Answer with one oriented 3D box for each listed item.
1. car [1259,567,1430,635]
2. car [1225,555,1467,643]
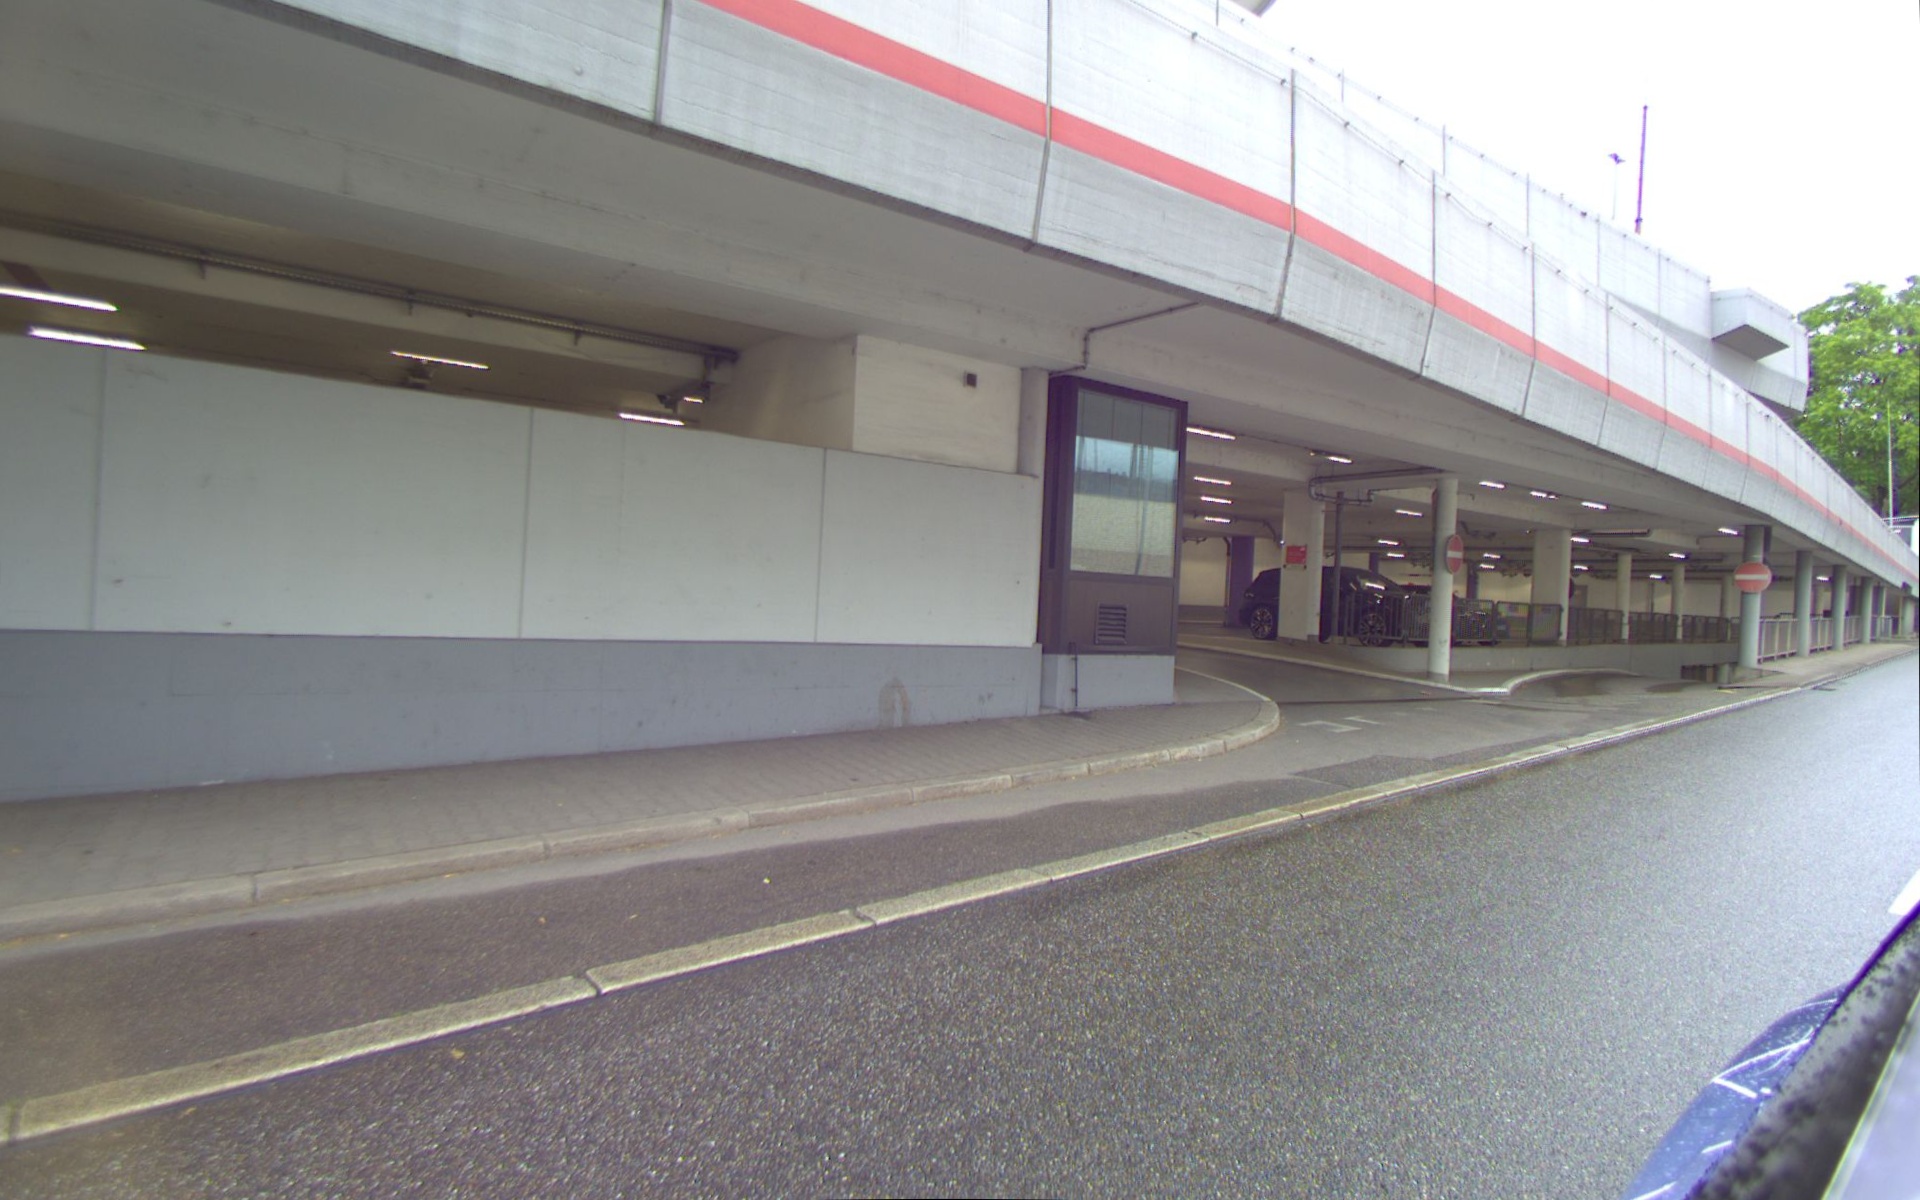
[{"bbox_3d":[9.848,-0.010,26.164,1.773,1.524,3.736,2,1,-35],"label":"car"},{"bbox_3d":[8.031,-0.046,21.472,1.788,1.660,4.590,0,1,-36],"label":"car"}]
